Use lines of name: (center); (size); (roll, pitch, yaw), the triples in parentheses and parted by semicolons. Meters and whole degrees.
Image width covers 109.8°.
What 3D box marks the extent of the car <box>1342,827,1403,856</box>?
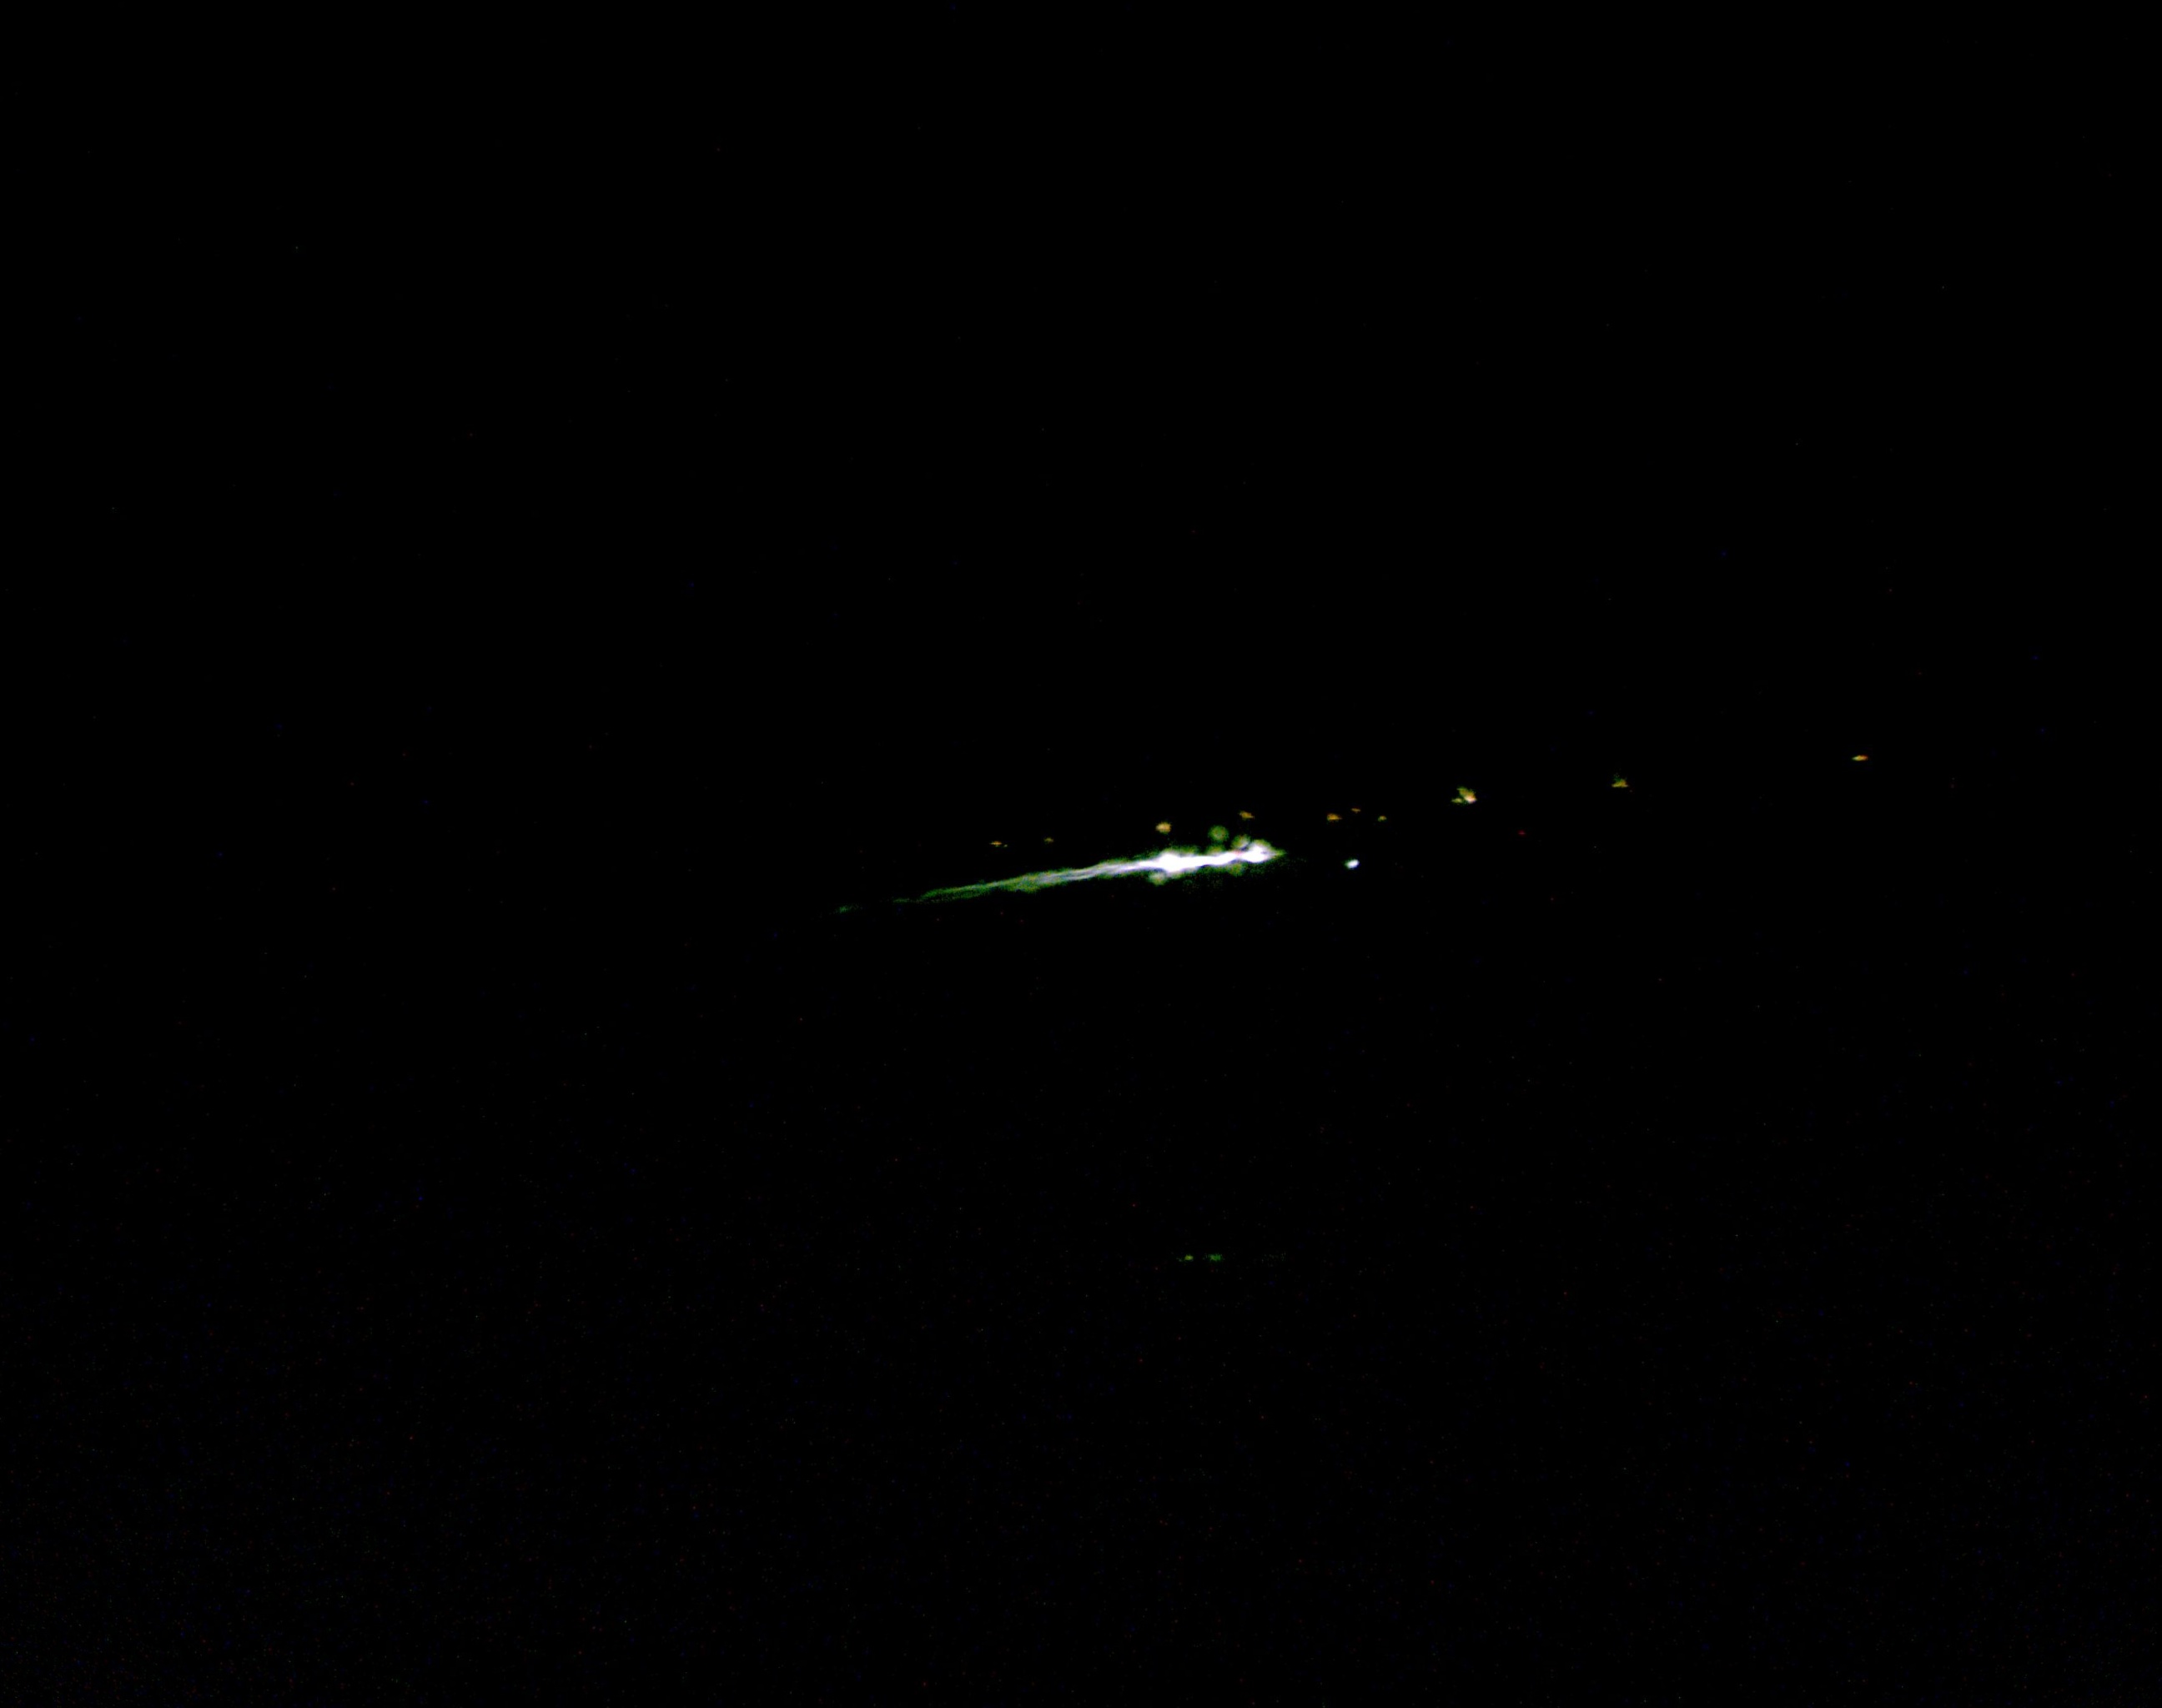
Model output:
car: (19.502, -0.844, 50.772); (4.107, 1.737, 1.995); (-4, 0, -41)
